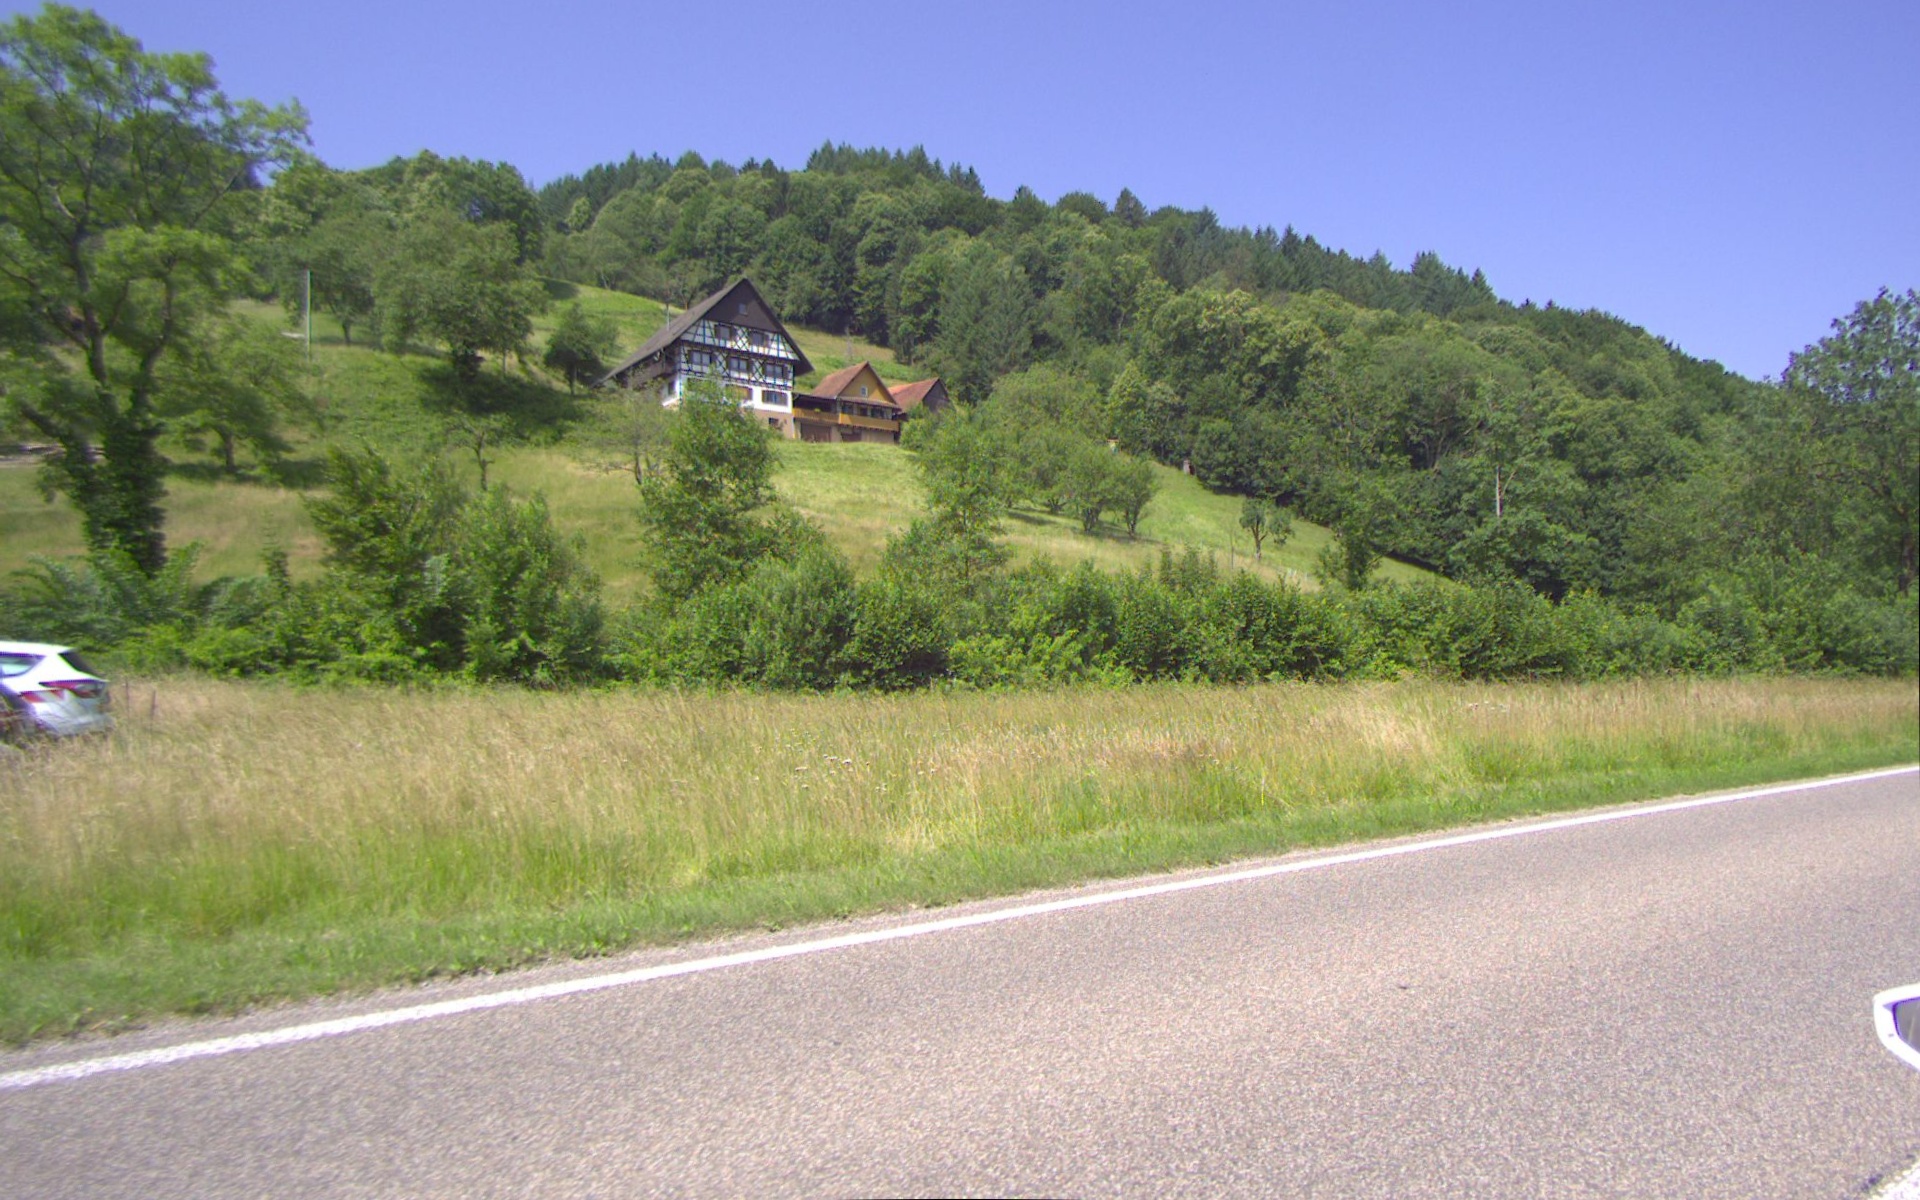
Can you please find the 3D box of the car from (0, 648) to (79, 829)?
[{"bbox_3d":[-11.171,1.276,9.024,4.572,1.673,1.983,2,-4,-33],"label":"car"}]

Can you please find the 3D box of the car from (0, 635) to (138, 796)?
[{"bbox_3d":[-12.287,1.289,11.214,4.731,1.805,1.856,2,-3,-39],"label":"car"}]

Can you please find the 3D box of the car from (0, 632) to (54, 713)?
[{"bbox_3d":[-19.791,1.357,18.527,4.491,1.520,1.974,2,-4,-44],"label":"car"}]

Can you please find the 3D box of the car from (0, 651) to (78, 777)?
[{"bbox_3d":[-14.600,1.509,12.897,4.865,1.662,1.976,2,-4,-42],"label":"car"}]
